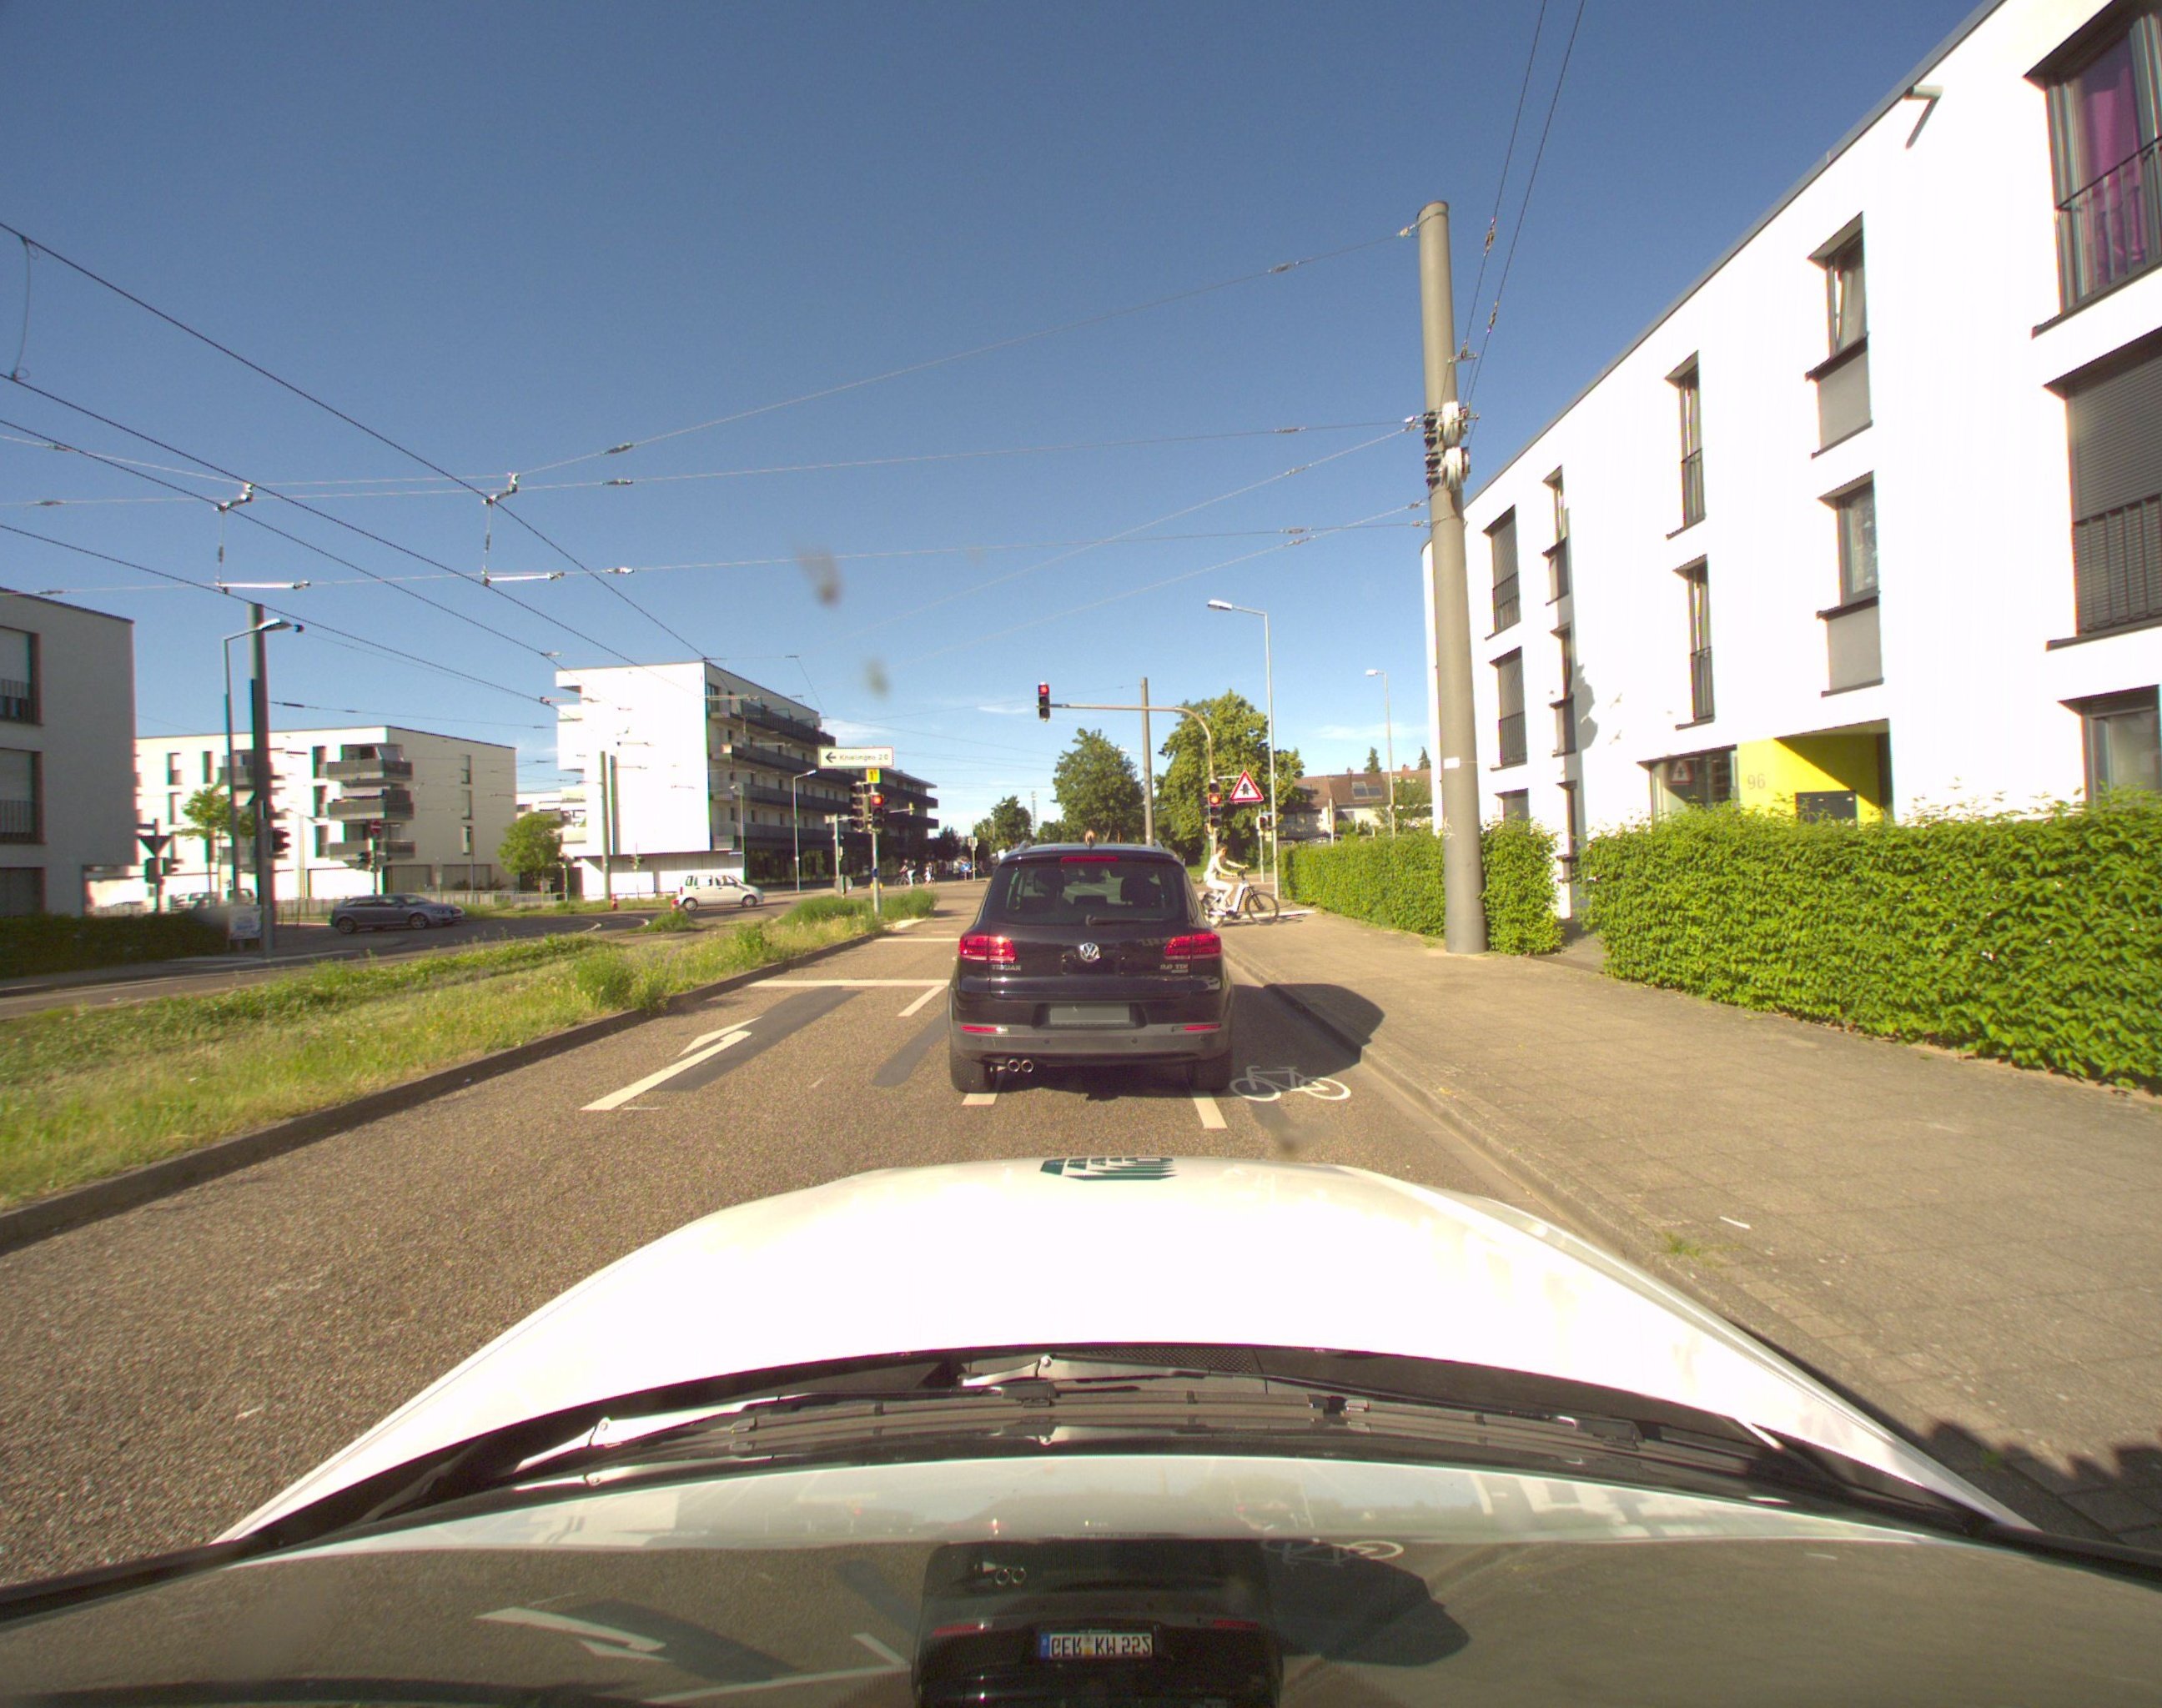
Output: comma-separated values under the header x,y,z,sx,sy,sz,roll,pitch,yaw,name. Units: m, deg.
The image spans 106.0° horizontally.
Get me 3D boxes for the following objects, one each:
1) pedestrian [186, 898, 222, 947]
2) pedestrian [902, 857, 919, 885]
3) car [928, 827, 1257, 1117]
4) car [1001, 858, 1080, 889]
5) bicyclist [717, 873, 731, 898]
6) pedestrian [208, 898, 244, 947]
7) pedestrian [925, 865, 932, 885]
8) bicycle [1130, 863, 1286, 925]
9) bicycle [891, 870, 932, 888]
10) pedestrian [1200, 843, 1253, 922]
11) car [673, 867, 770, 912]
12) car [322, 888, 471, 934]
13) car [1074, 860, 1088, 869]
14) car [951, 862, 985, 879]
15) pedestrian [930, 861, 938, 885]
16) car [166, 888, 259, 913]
x,y,z,sx,sy,sz,roll,pitch,yaw,name
-30.180,2.351,28.039,0.778,1.605,0.734,0,-1,-42,pedestrian
-10.567,1.064,50.548,0.808,1.692,0.622,-3,-1,8,pedestrian
0.126,0.690,6.638,1.862,1.637,4.001,0,-1,2,car
-2.308,1.111,46.359,3.952,1.684,2.011,-1,-1,23,car
-23.983,2.109,54.724,0.637,1.614,0.784,0,-1,-2,bicyclist
-29.435,2.345,28.056,0.778,1.605,0.734,0,-1,-42,pedestrian
-11.196,1.538,59.862,0.440,1.503,0.517,0,-1,-4,pedestrian
2.675,0.859,17.295,3.087,1.173,0.937,-3,-1,24,bicycle
-10.517,1.541,50.546,2.396,1.002,0.642,-3,-1,8,bicycle
3.061,0.578,17.110,0.844,1.594,0.919,-3,-1,23,pedestrian
-15.785,1.510,35.765,3.696,1.720,1.852,-2,0,-29,car
-26.824,2.211,32.029,4.089,1.485,1.867,-3,0,-4,car
-0.041,2.035,159.136,1.981,1.574,4.350,-1,-1,9,car
-11.069,1.605,80.092,1.980,1.574,4.353,-1,-1,11,car
-10.922,1.426,60.491,0.542,1.744,0.517,0,-1,-4,pedestrian
-58.845,3.166,55.226,4.305,1.574,2.002,0,-1,4,car
